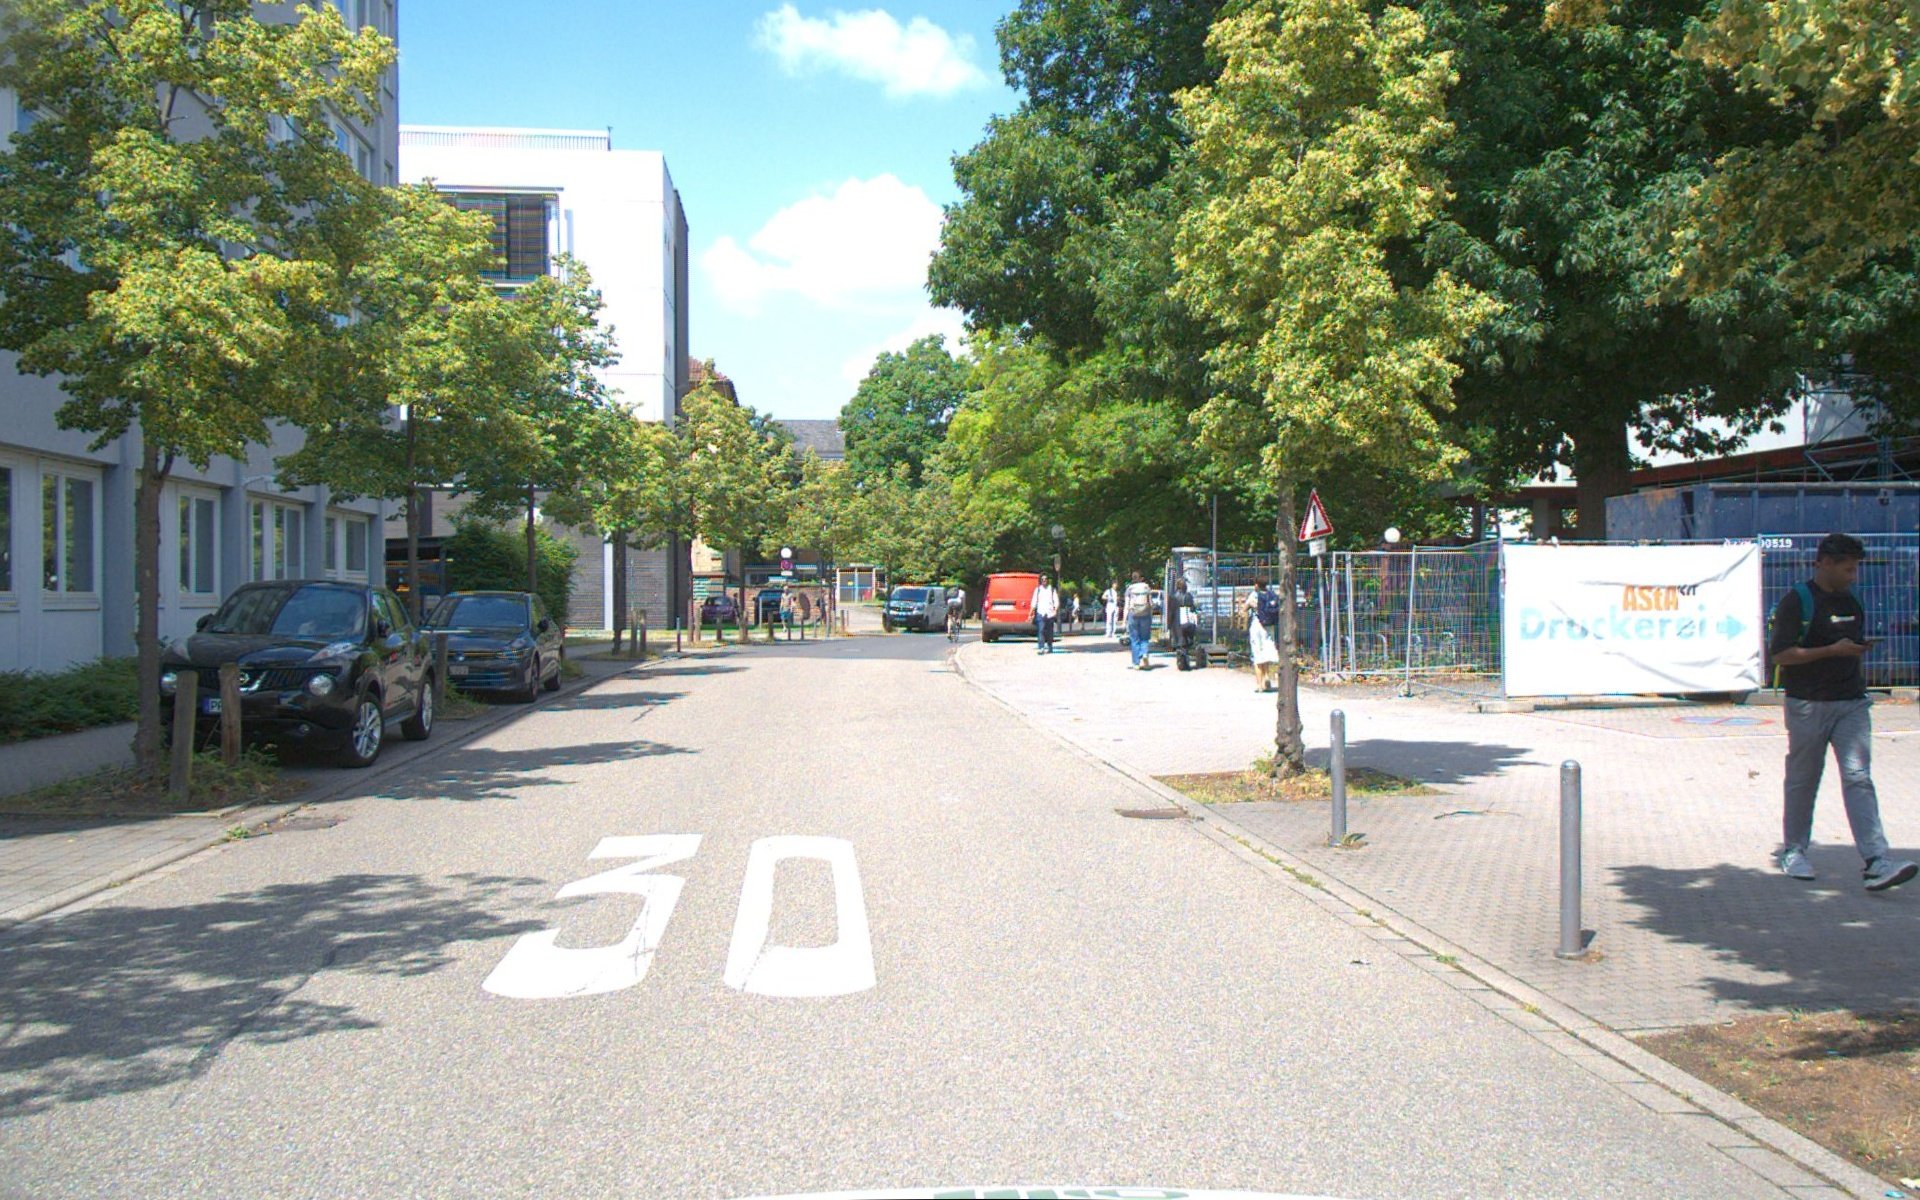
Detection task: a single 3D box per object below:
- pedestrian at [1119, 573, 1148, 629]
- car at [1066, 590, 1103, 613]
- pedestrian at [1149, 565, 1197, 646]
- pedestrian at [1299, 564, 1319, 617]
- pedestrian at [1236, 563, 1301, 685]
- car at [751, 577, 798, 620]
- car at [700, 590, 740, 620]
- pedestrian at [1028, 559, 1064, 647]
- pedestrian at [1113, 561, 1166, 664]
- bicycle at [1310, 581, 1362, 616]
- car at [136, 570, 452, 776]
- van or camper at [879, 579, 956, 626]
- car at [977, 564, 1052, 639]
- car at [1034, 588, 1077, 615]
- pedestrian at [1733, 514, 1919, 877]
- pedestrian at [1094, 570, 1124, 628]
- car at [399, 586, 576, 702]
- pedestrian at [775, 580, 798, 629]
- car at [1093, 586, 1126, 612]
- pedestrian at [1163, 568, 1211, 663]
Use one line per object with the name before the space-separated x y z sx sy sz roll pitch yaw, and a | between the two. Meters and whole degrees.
pedestrian | 5.453 0.039 51.913 0.739 1.740 0.555 -1 0 -42
car | 7.910 0.074 104.657 1.581 1.412 4.003 -1 0 15
pedestrian | 4.447 0.104 34.498 0.705 1.660 0.704 -1 0 -29
pedestrian | 12.426 -0.321 58.880 0.532 1.869 0.762 -1 0 1
pedestrian | 4.409 0.336 23.662 0.637 1.695 0.903 -1 0 -8
car | -8.914 -0.091 79.261 2.134 1.959 5.177 -1 0 -7
car | -11.427 0.229 78.969 1.782 1.347 3.762 -1 0 -7
pedestrian | 1.817 0.060 34.955 0.680 1.812 0.787 -1 0 7
pedestrian | 3.164 0.216 29.229 0.832 1.794 0.716 -1 0 1
bicycle | 11.131 -0.032 49.065 0.506 0.973 1.794 -2 0 -24
car | -5.861 0.558 15.063 1.664 1.591 4.061 -1 0 -7
van or camper | -1.782 0.100 71.700 1.912 1.957 5.424 0 0 14
car | 1.551 0.022 45.270 1.809 1.924 4.893 -1 0 4
car | 5.662 0.086 97.351 1.722 1.548 4.114 -1 0 15
pedestrian | 4.395 0.452 8.306 0.628 1.726 0.792 -1 0 -2
pedestrian | 4.742 -0.033 52.730 0.717 1.853 0.620 -1 0 -41
car | -6.546 0.553 23.331 1.744 1.486 4.252 1 0 -7
pedestrian | -6.497 0.157 61.977 0.571 1.795 0.912 -1 0 12
car | 10.239 -0.063 113.033 1.581 1.708 4.003 -1 0 15
pedestrian | 3.995 0.265 29.137 0.655 1.628 0.985 -1 0 -1
